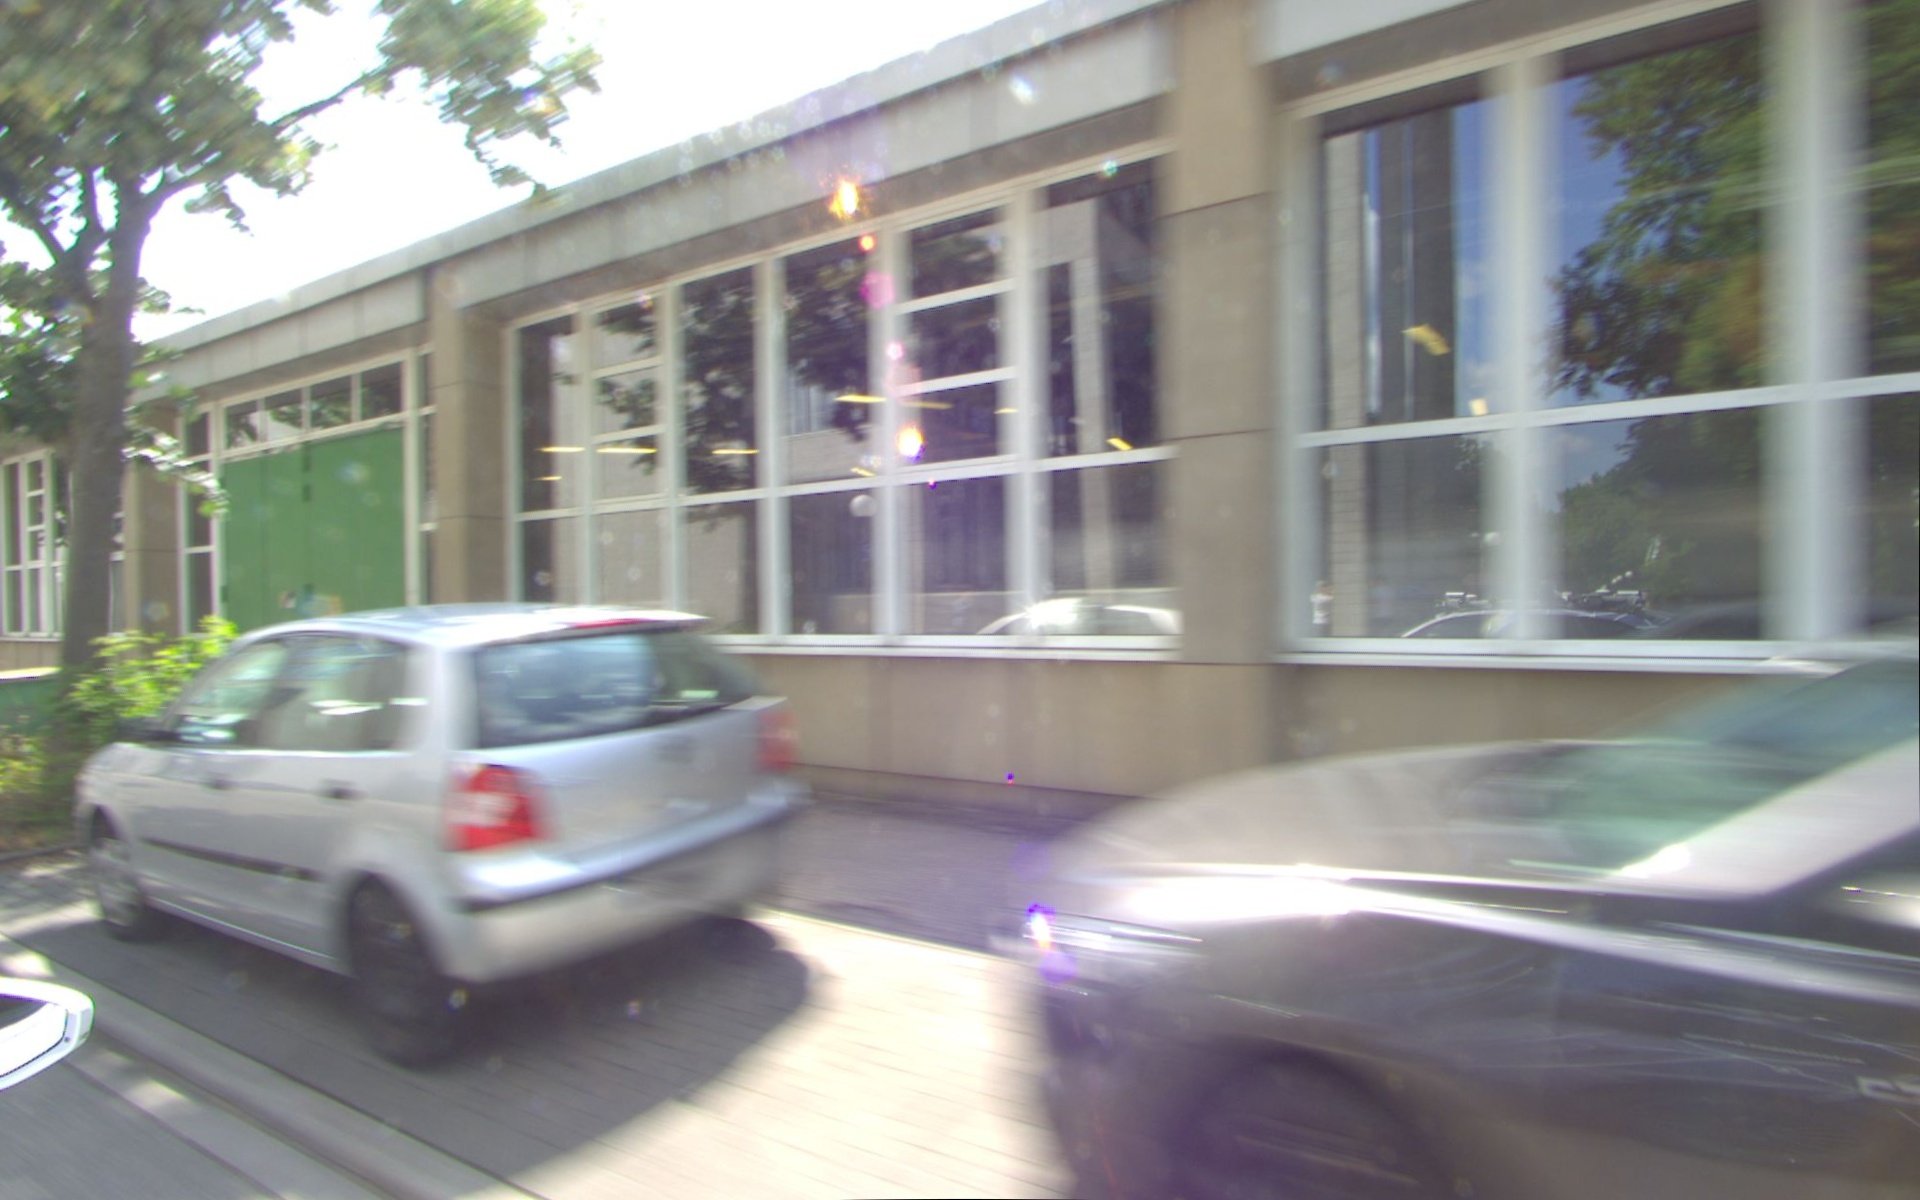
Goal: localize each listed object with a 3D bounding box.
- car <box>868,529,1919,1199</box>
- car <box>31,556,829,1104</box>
[{"bbox_3d":[2.131,0.630,1.767,4.399,1.496,1.776,-1,1,33],"label":"car"},{"bbox_3d":[-2.543,0.689,4.551,3.727,1.559,1.613,-1,0,33],"label":"car"}]
